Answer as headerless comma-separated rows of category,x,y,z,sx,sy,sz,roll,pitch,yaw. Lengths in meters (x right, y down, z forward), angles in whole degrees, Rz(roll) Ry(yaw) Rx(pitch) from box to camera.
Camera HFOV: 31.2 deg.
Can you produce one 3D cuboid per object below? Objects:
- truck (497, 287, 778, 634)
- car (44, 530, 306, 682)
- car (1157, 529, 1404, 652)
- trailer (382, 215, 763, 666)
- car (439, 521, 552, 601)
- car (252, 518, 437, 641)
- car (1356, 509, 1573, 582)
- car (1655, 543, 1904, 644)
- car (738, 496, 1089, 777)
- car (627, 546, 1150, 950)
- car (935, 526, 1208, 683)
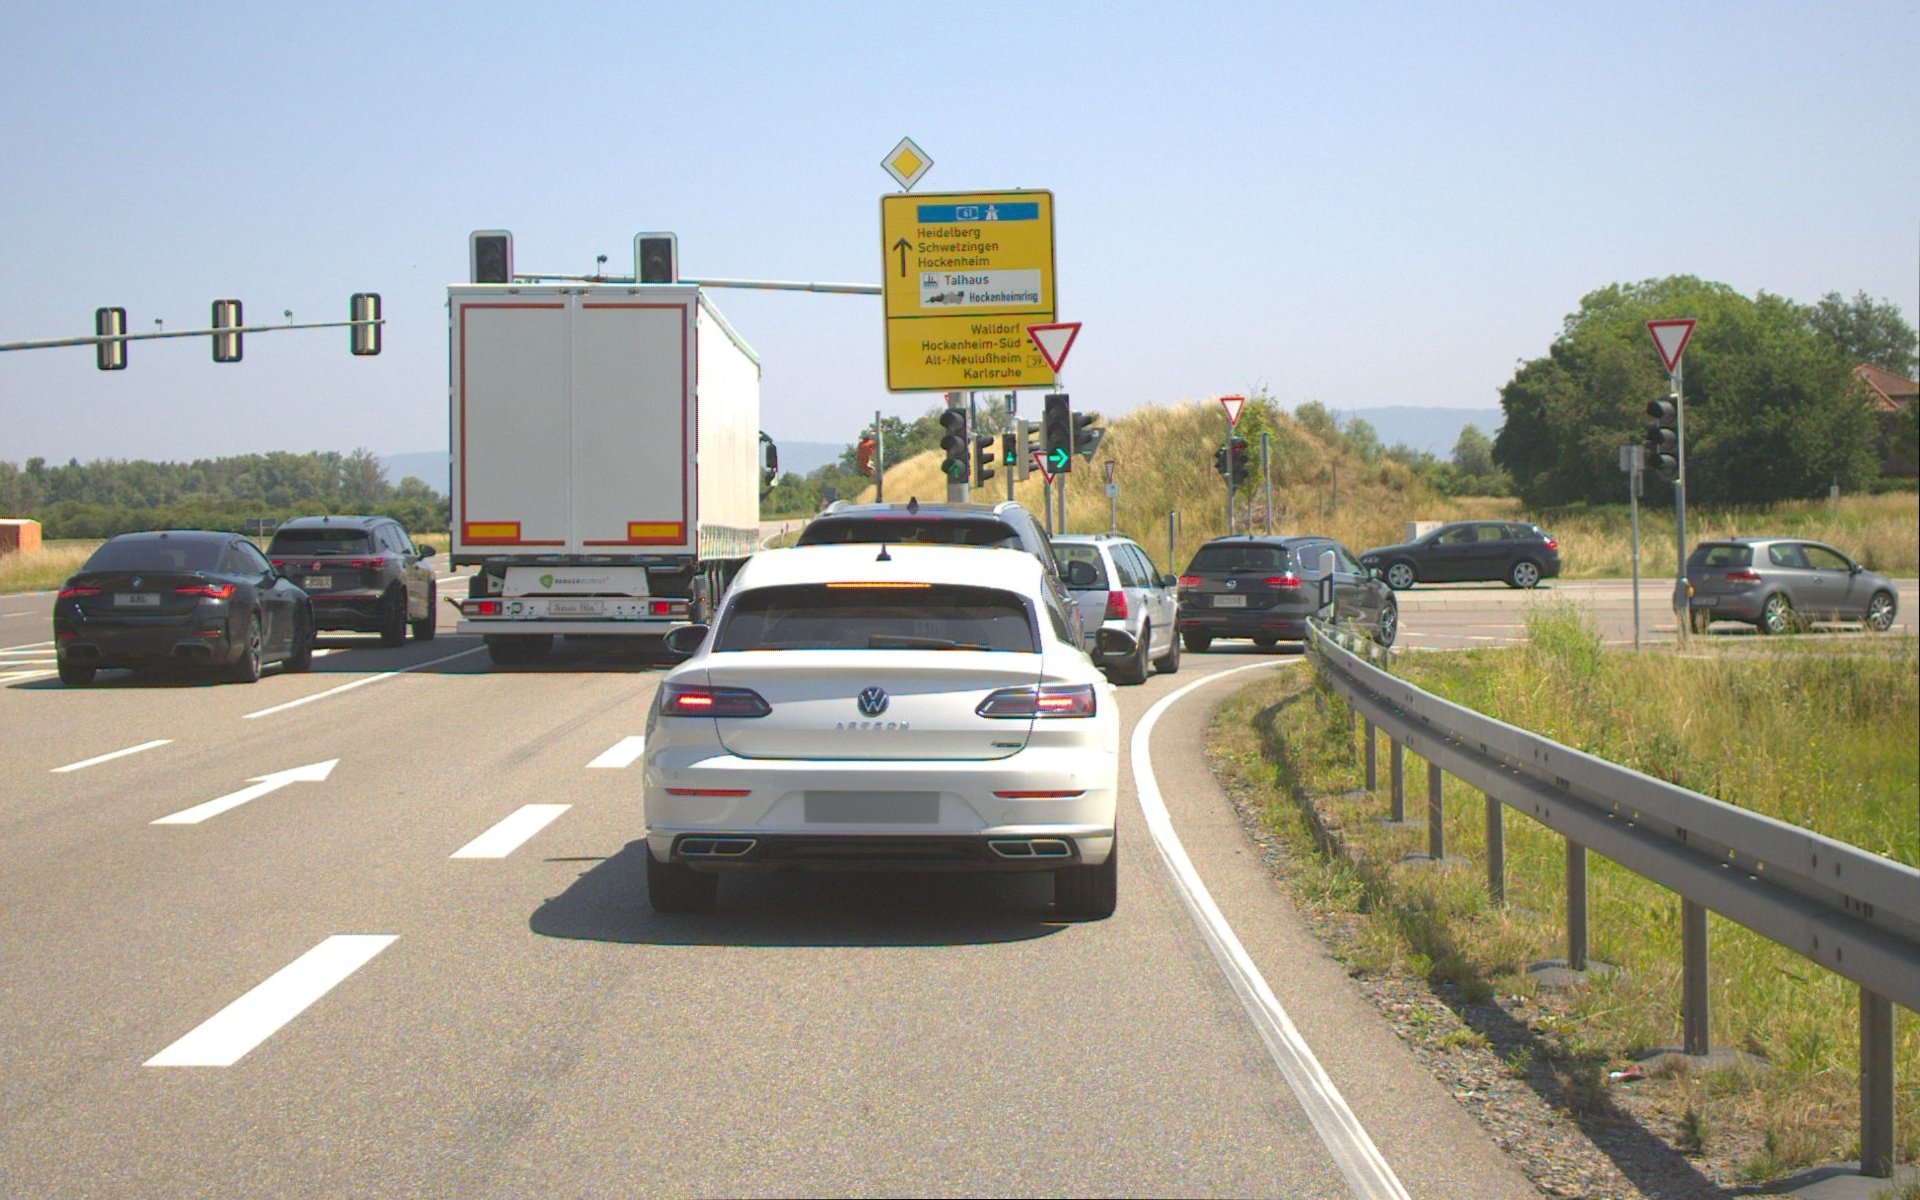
truck,-4.411,-1.902,48.440,3.381,4.527,6.373,0,1,0
car,-7.648,0.023,33.829,1.809,1.393,4.022,0,1,-2
car,4.105,-0.153,43.458,1.802,1.471,4.409,1,1,24
trailer,-4.282,-1.748,41.186,3.381,4.527,12.873,0,1,-1
car,-9.005,-0.775,66.917,1.809,1.488,4.022,0,1,-2
car,-7.825,-0.286,44.001,1.809,1.488,4.022,0,1,-2
car,10.458,-1.143,71.523,4.260,1.364,1.776,2,3,3
car,12.853,-0.122,53.863,3.871,1.516,1.805,-1,1,-39
car,-0.191,0.175,22.033,1.935,1.611,4.378,0,1,3
car,-0.278,0.489,14.474,1.848,1.428,4.608,0,1,-1
car,1.159,0.008,33.622,1.801,1.424,4.090,0,1,15
